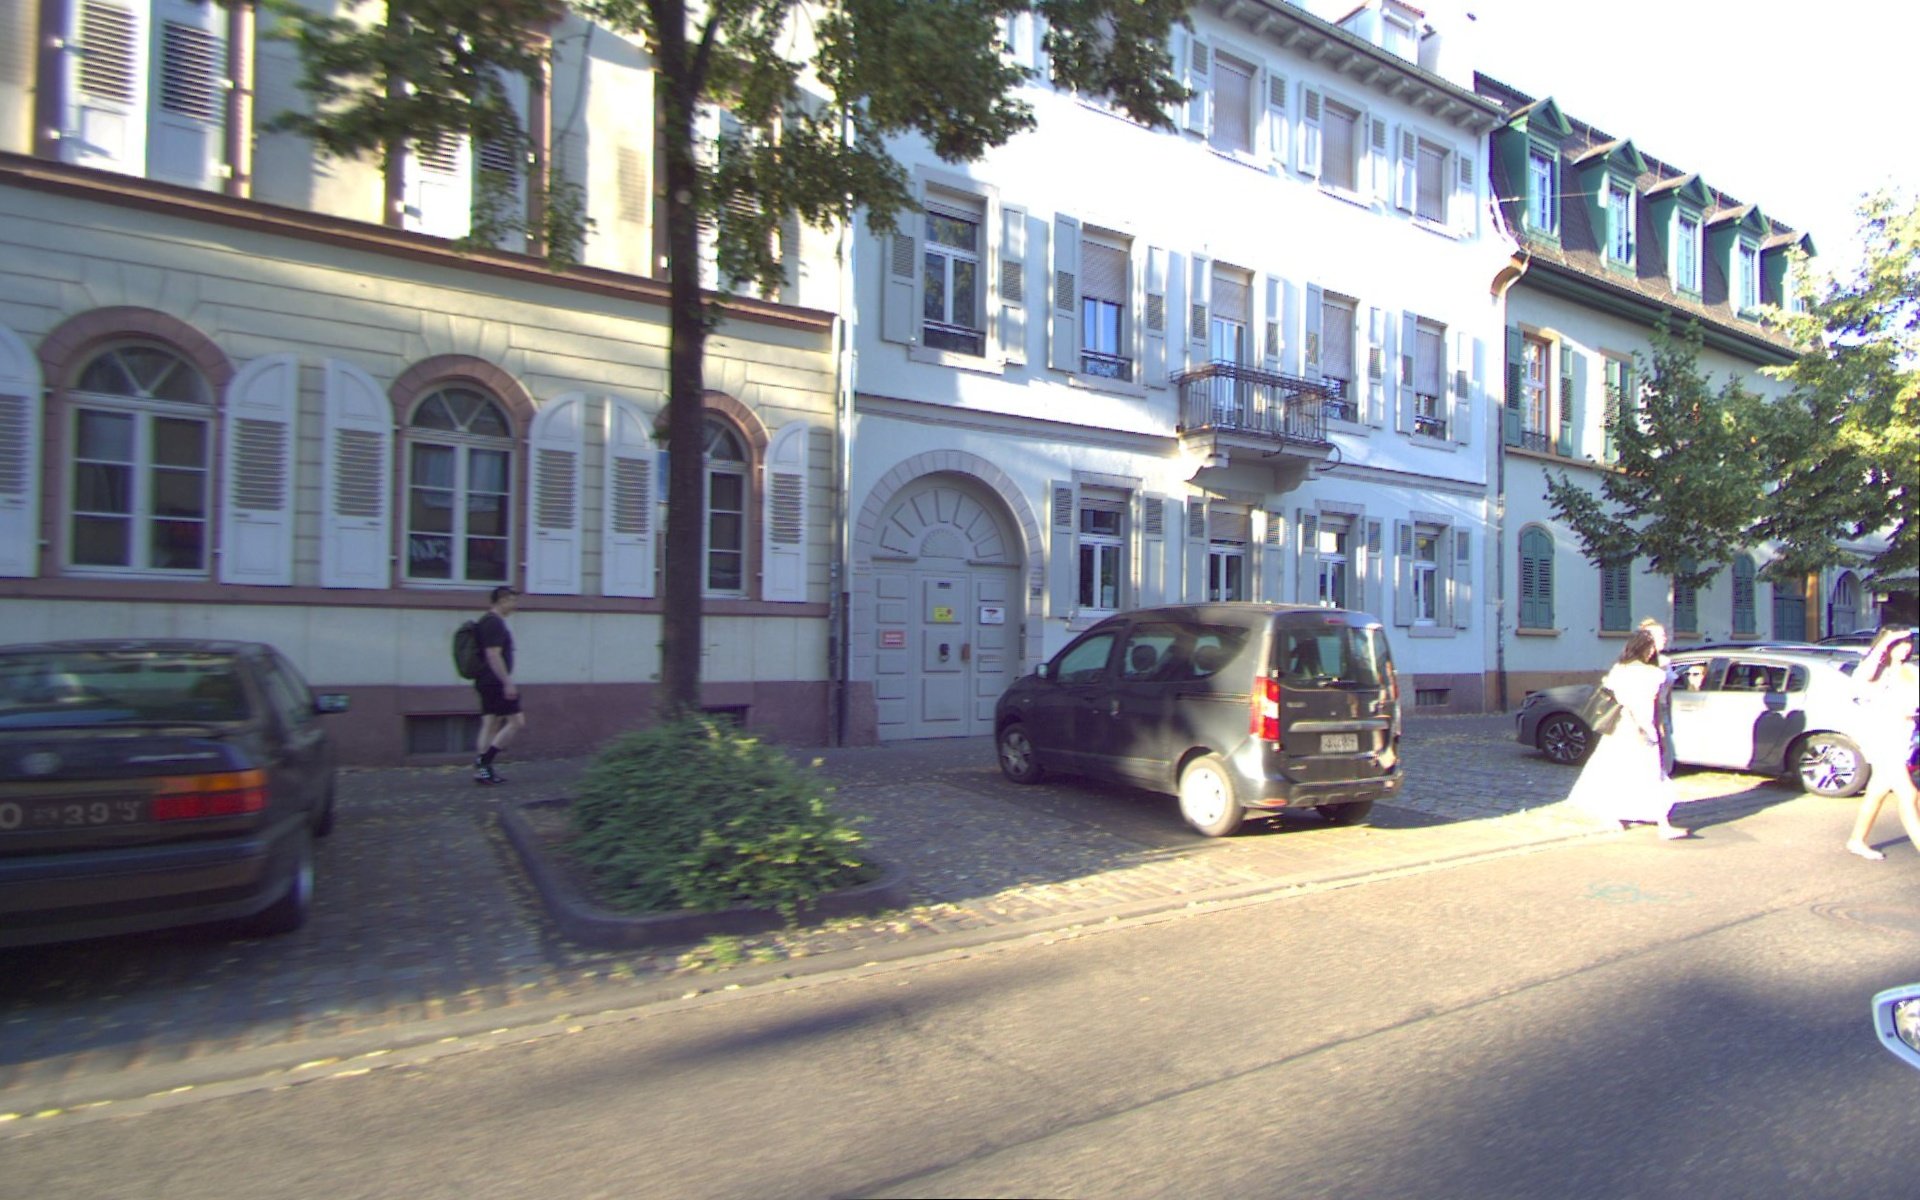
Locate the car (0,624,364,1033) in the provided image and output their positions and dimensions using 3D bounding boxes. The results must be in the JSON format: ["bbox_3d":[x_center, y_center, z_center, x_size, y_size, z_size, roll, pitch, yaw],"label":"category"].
[{"bbox_3d":[-4.356,0.895,5.607,1.574,1.458,4.134,2,-1,-29],"label":"car"}]

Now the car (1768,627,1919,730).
[{"bbox_3d":[18.894,1.510,19.343,1.951,1.933,4.847,2,-2,-30],"label":"car"}]

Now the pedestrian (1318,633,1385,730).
[{"bbox_3d":[6.532,1.335,16.750,0.787,1.542,0.692,2,-1,-31],"label":"pedestrian"}]

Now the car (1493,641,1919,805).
[{"bbox_3d":[8.664,1.265,11.737,1.667,1.480,4.036,2,-2,-32],"label":"car"}]

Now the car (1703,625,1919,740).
[{"bbox_3d":[16.216,1.408,17.923,1.871,1.894,4.408,2,-2,-29],"label":"car"}]

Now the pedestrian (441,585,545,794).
[{"bbox_3d":[-4.313,0.800,9.266,0.771,1.825,0.659,2,-2,-30],"label":"pedestrian"}]

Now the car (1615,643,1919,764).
[{"bbox_3d":[12.409,1.431,14.986,1.940,1.503,4.018,2,-2,-30],"label":"car"}]

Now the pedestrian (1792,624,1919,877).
[{"bbox_3d":[6.535,1.007,7.054,0.818,1.660,0.823,2,-2,-30],"label":"pedestrian"}]

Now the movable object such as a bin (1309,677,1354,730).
[{"bbox_3d":[6.043,1.678,16.357,0.527,0.808,0.445,2,-1,-31],"label":"movable object such as a bin"}]

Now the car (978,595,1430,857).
[{"bbox_3d":[1.954,0.947,9.295,1.784,1.830,4.121,2,-2,-28],"label":"car"}]

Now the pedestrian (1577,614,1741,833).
[{"bbox_3d":[6.103,1.038,8.797,0.753,1.782,0.917,2,-3,-29],"label":"pedestrian"}]

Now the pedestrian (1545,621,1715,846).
[{"bbox_3d":[5.494,1.042,8.266,0.753,1.717,0.917,2,-2,-29],"label":"pedestrian"}]

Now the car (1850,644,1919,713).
[{"bbox_3d":[22.615,1.789,21.925,1.712,1.505,4.460,2,-1,-28],"label":"car"}]

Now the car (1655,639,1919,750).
[{"bbox_3d":[14.242,1.478,16.692,1.940,1.576,4.022,2,-2,-28],"label":"car"}]
